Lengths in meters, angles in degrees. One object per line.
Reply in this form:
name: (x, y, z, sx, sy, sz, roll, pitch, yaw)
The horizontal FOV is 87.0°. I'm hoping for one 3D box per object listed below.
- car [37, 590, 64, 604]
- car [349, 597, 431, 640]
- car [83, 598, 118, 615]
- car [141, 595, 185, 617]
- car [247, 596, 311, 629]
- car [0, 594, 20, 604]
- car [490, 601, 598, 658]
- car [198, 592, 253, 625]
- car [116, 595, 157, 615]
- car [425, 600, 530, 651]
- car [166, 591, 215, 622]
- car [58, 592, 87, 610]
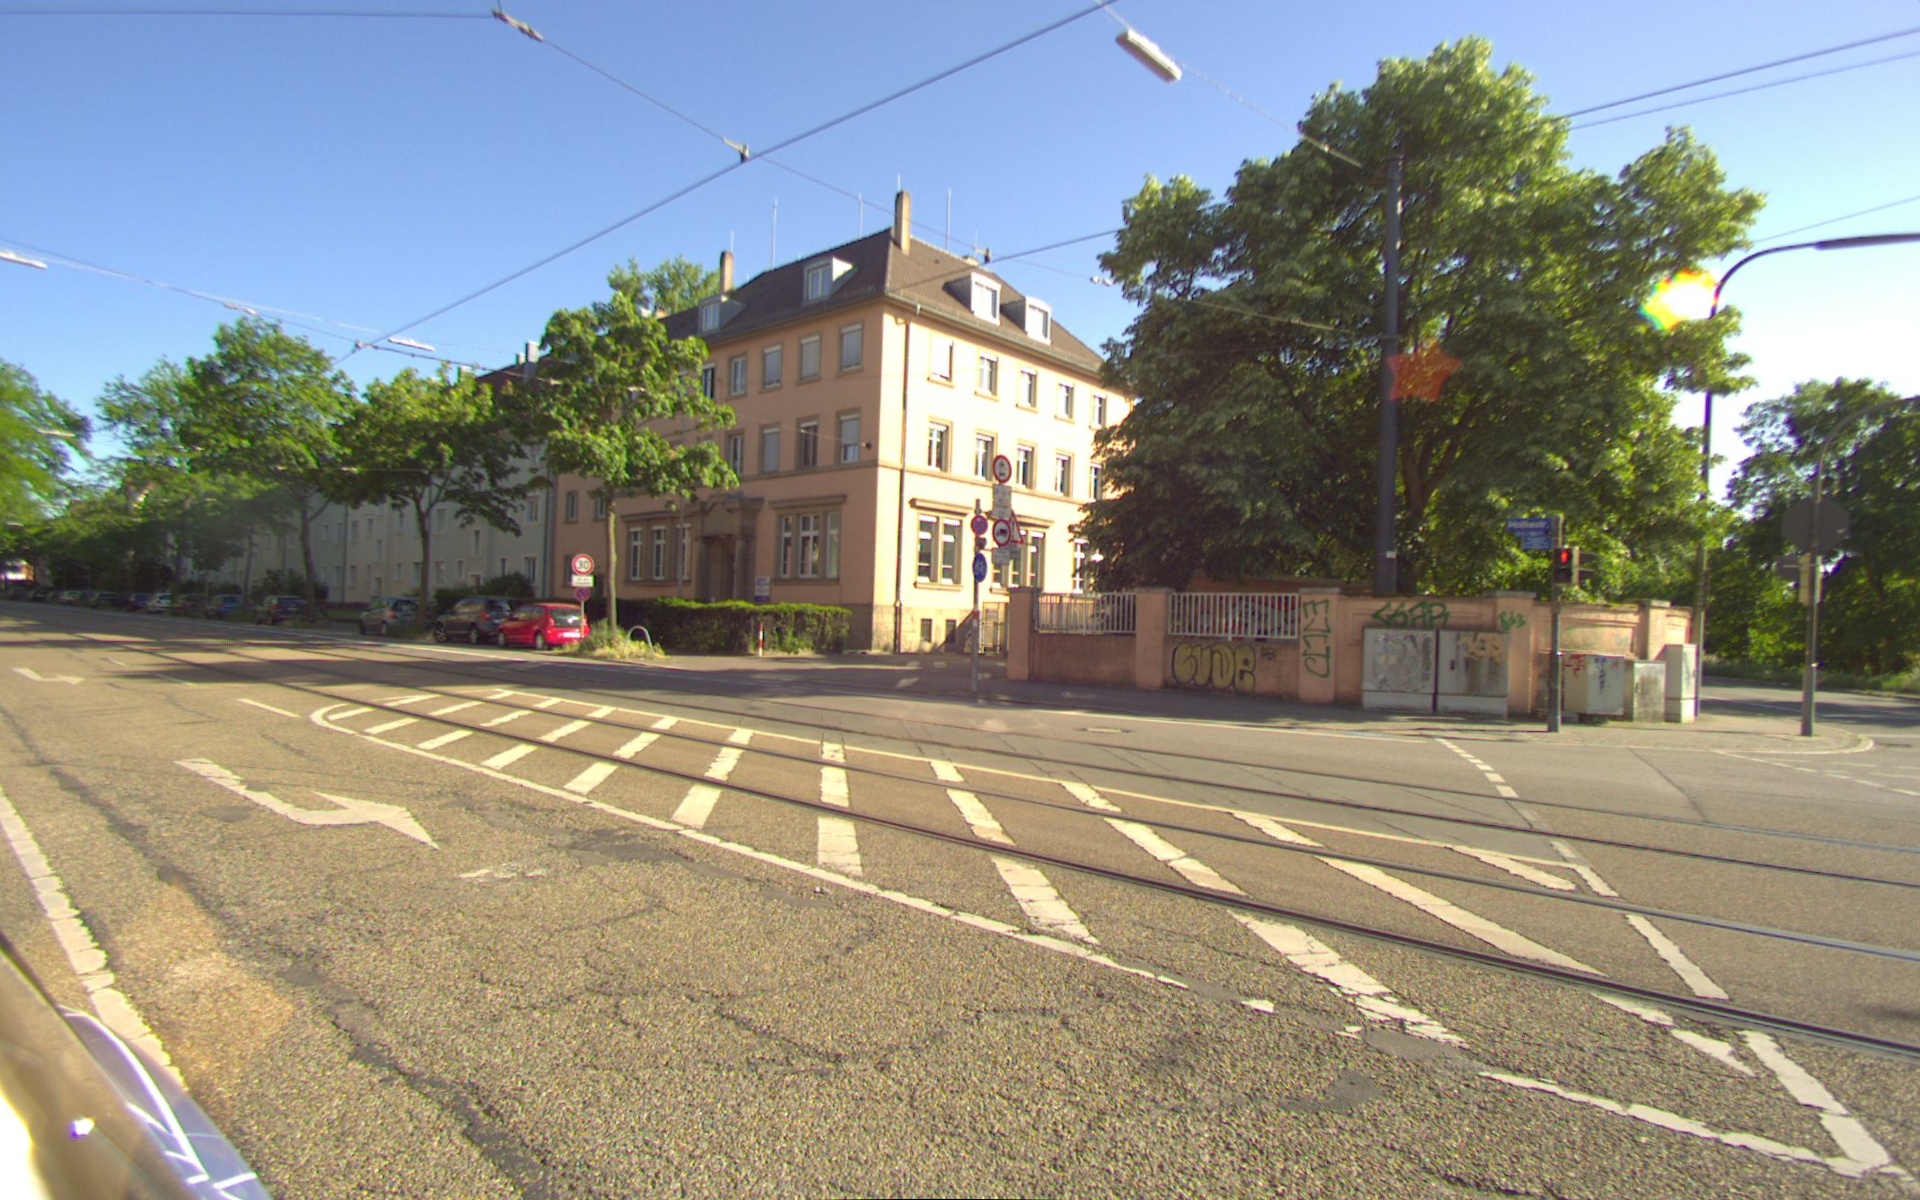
car: (-102.629, -0.314, 114.163, 3.628, 1.534, 1.792, 1, -2, 41)
car: (-23.392, 0.748, 41.510, 3.877, 1.671, 1.791, 1, -2, 43)
car: (-76.703, 0.567, 90.288, 3.628, 1.430, 1.792, 1, -2, 41)
car: (-57.591, 0.423, 73.119, 3.628, 1.430, 1.792, 1, -2, 41)
car: (-35.350, 0.632, 52.502, 3.628, 1.611, 1.792, 1, -2, 41)
car: (-135.417, -0.150, 144.185, 3.628, 1.430, 1.792, 1, -2, 41)
car: (-13.395, 0.931, 32.545, 3.371, 1.719, 1.793, 1, -2, 39)
car: (-44.013, 0.502, 60.652, 3.793, 1.839, 1.792, 1, -2, 41)
car: (-64.305, 0.373, 79.000, 3.628, 1.430, 1.792, 1, -2, 41)
car: (-16.946, 0.878, 35.505, 3.816, 1.671, 1.793, 1, -2, 39)
car: (-50.763, 0.421, 66.718, 3.628, 1.955, 1.792, 1, -2, 41)
car: (-93.640, 0.088, 106.763, 3.628, 1.792, 1.792, 1, -2, 41)
